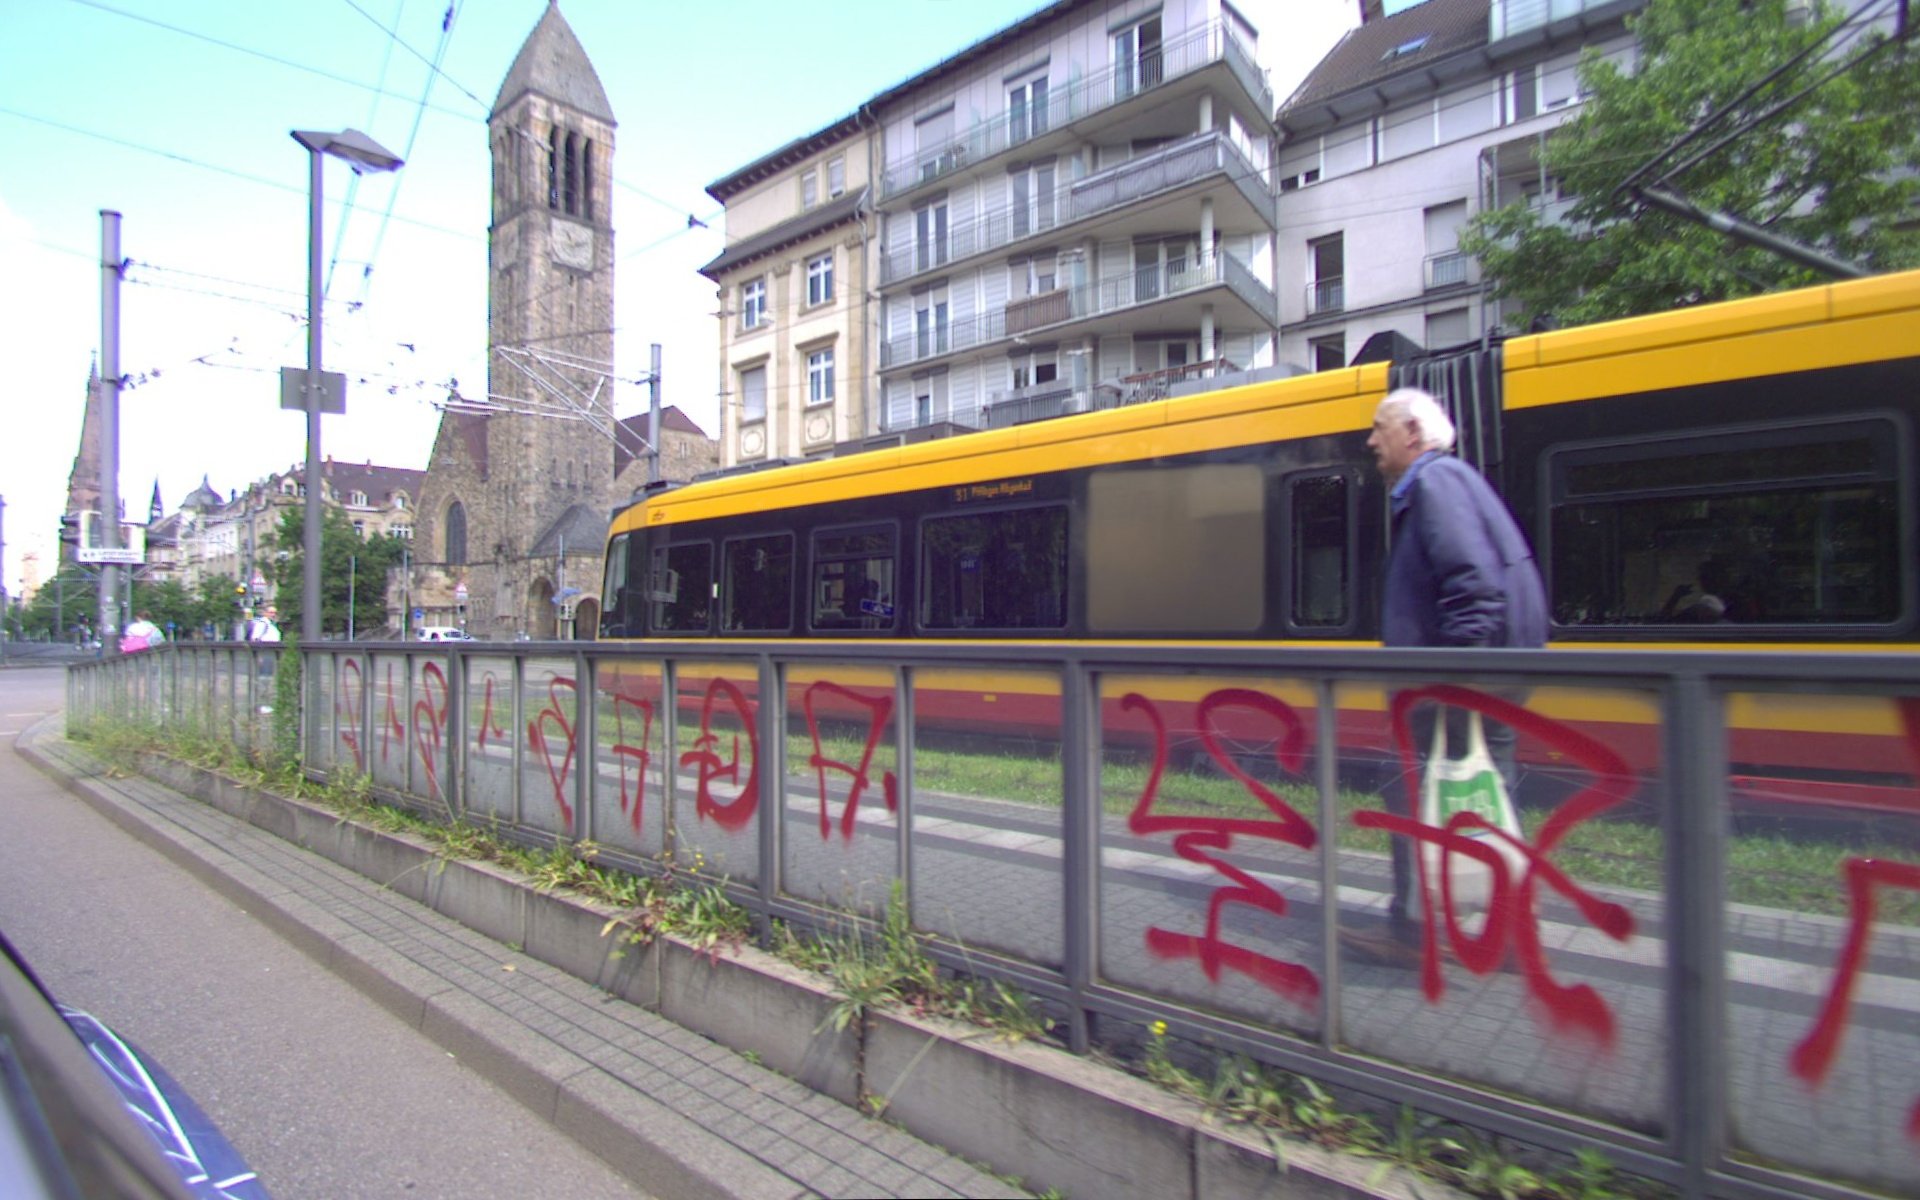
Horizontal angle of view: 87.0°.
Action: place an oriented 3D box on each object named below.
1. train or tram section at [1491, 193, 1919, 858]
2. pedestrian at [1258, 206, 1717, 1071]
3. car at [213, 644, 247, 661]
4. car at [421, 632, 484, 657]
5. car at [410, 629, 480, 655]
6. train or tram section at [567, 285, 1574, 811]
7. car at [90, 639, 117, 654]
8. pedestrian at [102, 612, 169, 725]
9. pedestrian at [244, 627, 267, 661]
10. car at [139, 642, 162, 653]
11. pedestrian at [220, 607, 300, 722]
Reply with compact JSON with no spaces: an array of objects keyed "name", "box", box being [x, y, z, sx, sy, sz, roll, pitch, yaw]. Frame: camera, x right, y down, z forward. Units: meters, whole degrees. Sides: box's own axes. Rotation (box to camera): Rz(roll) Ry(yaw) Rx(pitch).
[{"name":"train or tram section","box":[8.437,-0.483,4.444,10.400,3.611,2.766,-2,-2,42]},{"name":"pedestrian","box":[1.410,0.085,2.706,0.876,1.788,0.848,-2,-2,42]},{"name":"car","box":[-66.352,4.762,92.010,3.837,1.507,1.764,-3,-3,43]},{"name":"car","box":[-36.682,3.239,73.178,1.817,1.691,3.590,-4,-5,39]},{"name":"car","box":[-38.663,3.207,76.019,1.999,1.868,4.246,-4,-5,41]},{"name":"train or tram section","box":[-0.325,-0.173,12.338,13.012,3.611,2.777,-2,-2,42]},{"name":"car","box":[-91.971,4.983,108.628,4.131,1.517,1.794,-3,-3,43]},{"name":"pedestrian","box":[-12.653,1.033,15.551,0.615,1.678,0.678,0,-2,-24]},{"name":"pedestrian","box":[-35.993,2.244,51.692,0.743,1.744,0.761,-2,-3,42]},{"name":"car","box":[-93.391,5.508,116.707,3.063,1.243,1.632,-3,-3,43]},{"name":"pedestrian","box":[-11.386,1.034,16.463,1.045,1.794,0.839,-2,-3,42]}]
